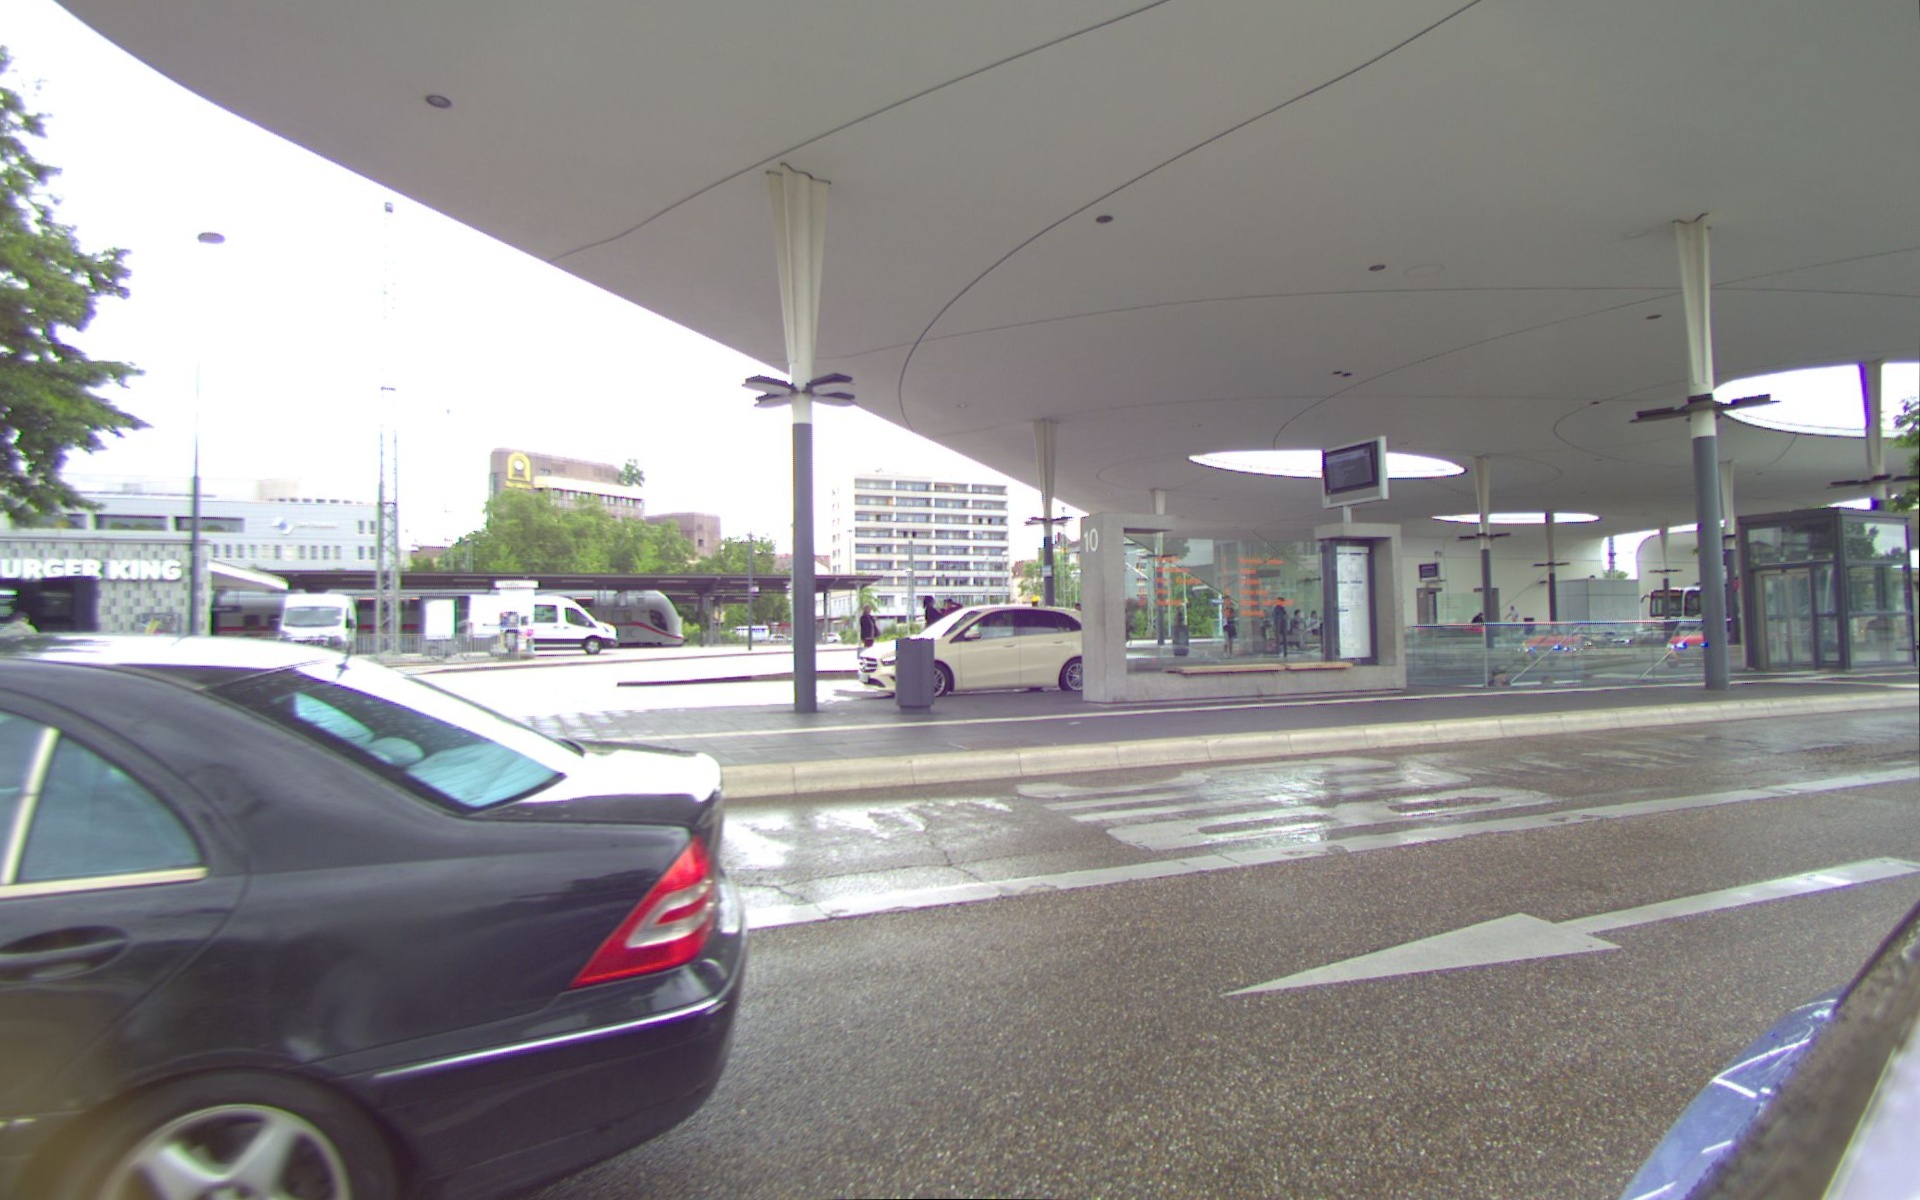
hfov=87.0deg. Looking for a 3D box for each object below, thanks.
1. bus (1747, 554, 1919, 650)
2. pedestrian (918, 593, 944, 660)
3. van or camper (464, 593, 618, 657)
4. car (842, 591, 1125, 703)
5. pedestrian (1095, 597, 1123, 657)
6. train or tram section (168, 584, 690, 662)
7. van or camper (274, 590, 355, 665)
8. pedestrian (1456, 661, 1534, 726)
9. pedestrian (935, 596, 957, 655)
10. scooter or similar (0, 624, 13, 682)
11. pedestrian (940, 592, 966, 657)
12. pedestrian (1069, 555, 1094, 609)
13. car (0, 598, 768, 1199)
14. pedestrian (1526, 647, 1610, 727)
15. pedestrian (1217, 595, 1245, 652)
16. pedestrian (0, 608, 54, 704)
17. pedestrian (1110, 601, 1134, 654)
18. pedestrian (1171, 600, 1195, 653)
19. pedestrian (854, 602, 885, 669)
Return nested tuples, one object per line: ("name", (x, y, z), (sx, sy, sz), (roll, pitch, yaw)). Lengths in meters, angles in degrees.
("bus", (33.592, -0.025, 36.505), (11.673, 3.121, 2.884), (-1, 0, -23))
("pedestrian", (-0.674, 0.612, 23.513), (0.469, 1.533, 0.536), (0, -1, -18))
("van or camper", (-17.323, 0.967, 42.028), (5.742, 2.464, 2.004), (-1, 0, -23))
("car", (0.396, 0.713, 17.476), (4.447, 1.702, 2.004), (-1, 0, -23))
("pedestrian", (3.806, 0.683, 25.888), (0.524, 1.533, 0.480), (0, -1, -19))
("train or tram section", (-32.354, 1.181, 64.811), (28.697, 4.234, 4.614), (-1, 0, -23))
("van or camper", (-23.349, 0.891, 36.794), (2.122, 2.464, 5.871), (-1, 1, -29))
("pedestrian", (9.932, 1.718, 18.803), (0.938, 1.068, 0.885), (-1, 0, -20))
("pedestrian", (-0.360, 0.656, 26.311), (0.471, 1.533, 0.533), (-1, -1, 12))
("scooter or similar", (-20.432, 1.117, 20.857), (0.331, 1.197, 1.288), (0, 0, 34))
("pedestrian", (-0.177, 0.580, 24.328), (0.469, 1.533, 0.536), (0, -1, -18))
("pedestrian", (3.490, -0.523, 29.055), (0.554, 1.533, 0.480), (0, -1, -19))
("car", (-2.746, 0.767, 2.342), (4.358, 1.484, 1.704), (-1, 0, -17))
("pedestrian", (10.784, 1.520, 17.972), (0.938, 1.291, 0.885), (-1, 0, -20))
("pedestrian", (7.344, 0.635, 27.437), (0.524, 1.533, 0.480), (0, -1, -19))
("pedestrian", (-15.646, 0.913, 16.779), (0.634, 1.549, 0.829), (0, 0, 37))
("pedestrian", (4.765, 0.813, 29.712), (0.514, 1.533, 0.480), (0, -1, -19))
("pedestrian", (6.575, 0.784, 29.823), (0.514, 1.533, 0.480), (0, -1, -19))
("pedestrian", (-2.252, 0.875, 25.166), (0.726, 1.615, 0.643), (0, 0, -8))
